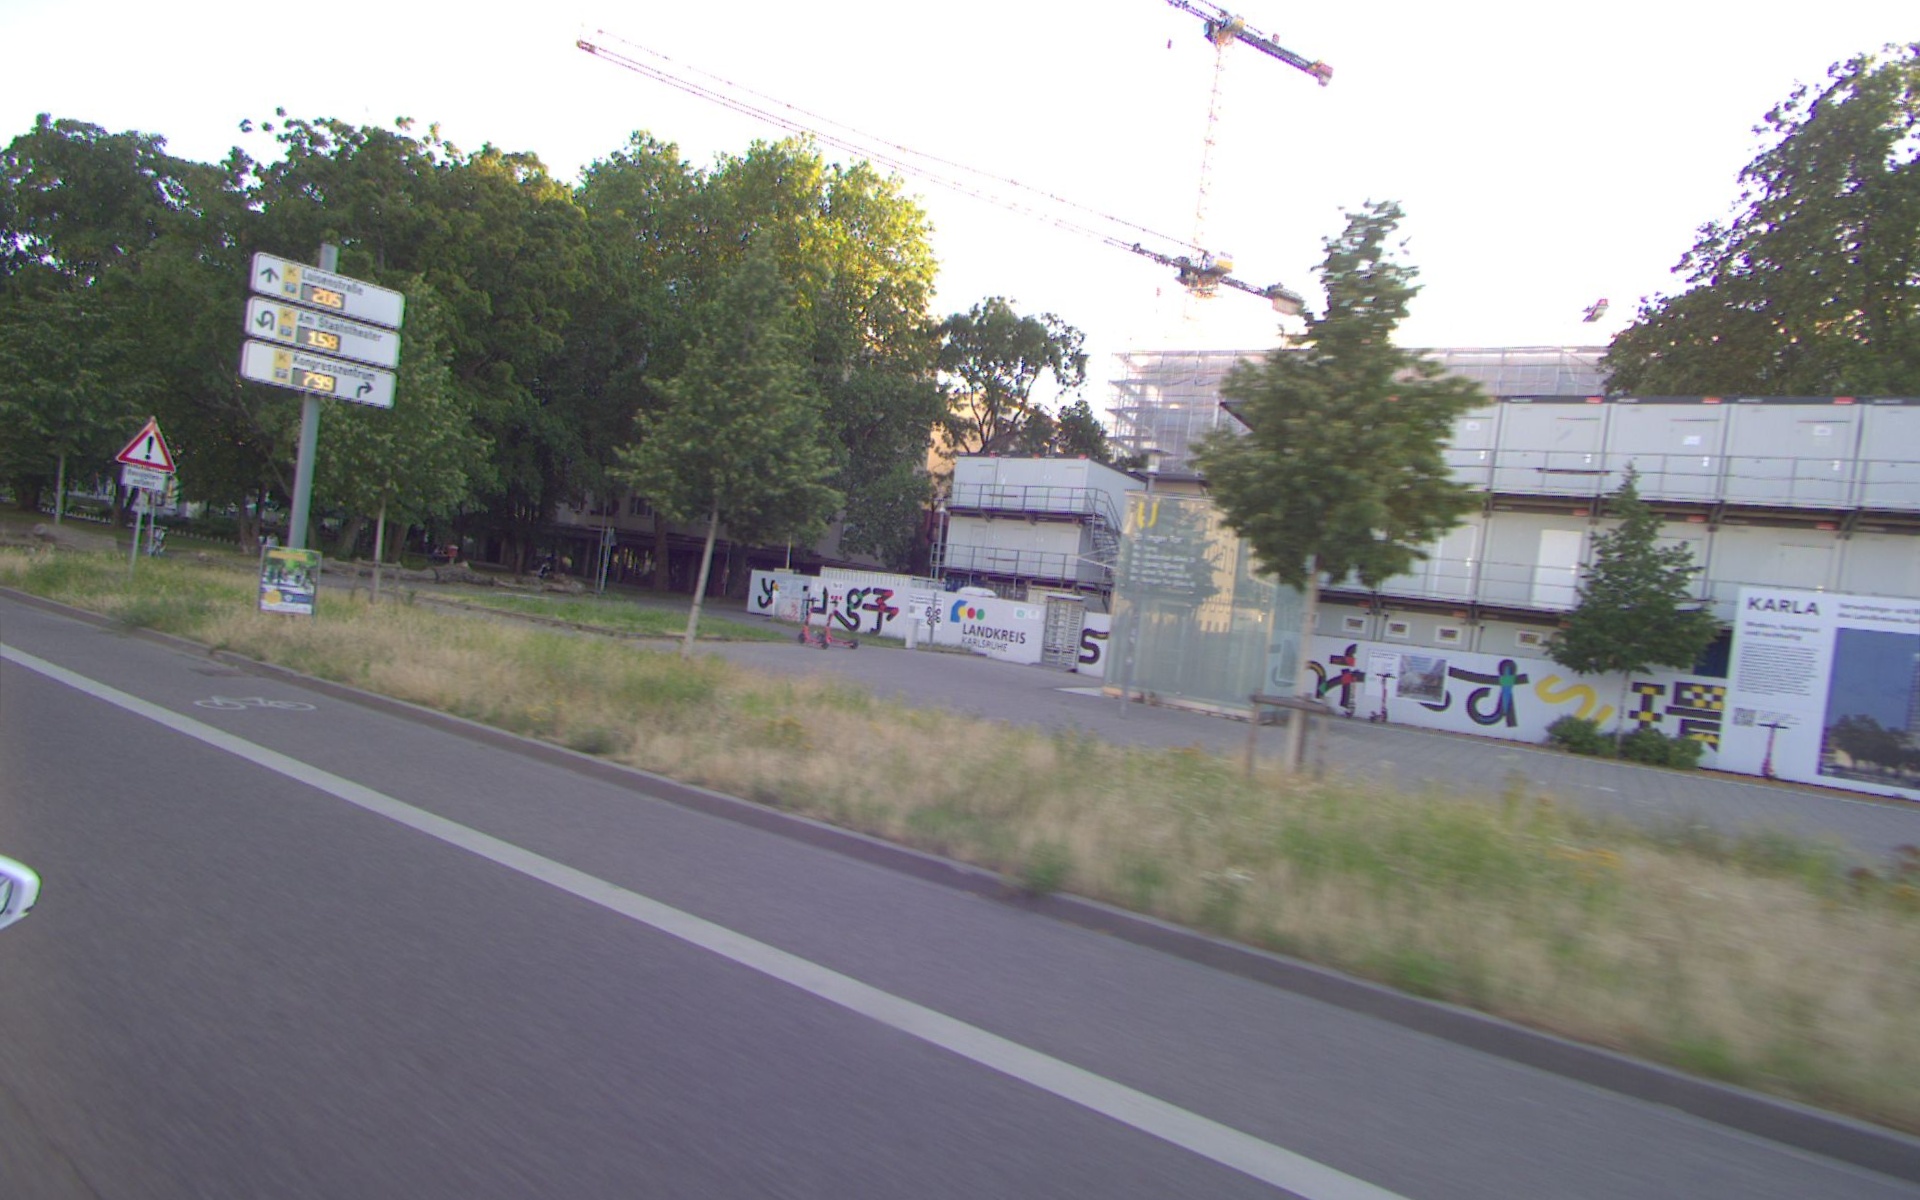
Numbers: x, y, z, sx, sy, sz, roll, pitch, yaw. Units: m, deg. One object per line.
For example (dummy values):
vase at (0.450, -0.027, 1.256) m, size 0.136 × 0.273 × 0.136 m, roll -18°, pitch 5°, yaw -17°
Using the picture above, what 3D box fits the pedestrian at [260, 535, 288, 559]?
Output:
pedestrian at (-29.228, -2.268, 42.859) m, size 0.611 × 0.895 × 0.681 m, roll 7°, pitch 1°, yaw 9°

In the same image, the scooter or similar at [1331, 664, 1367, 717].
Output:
scooter or similar at (9.695, 2.255, 25.067) m, size 0.466 × 1.235 × 1.572 m, roll 7°, pitch -1°, yaw 30°

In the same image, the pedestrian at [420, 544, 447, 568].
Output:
pedestrian at (-31.975, -2.664, 61.090) m, size 0.714 × 1.276 × 1.132 m, roll 7°, pitch 1°, yaw 35°

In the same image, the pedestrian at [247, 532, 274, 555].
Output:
pedestrian at (-29.825, -2.409, 42.903) m, size 0.582 × 0.896 × 0.681 m, roll 6°, pitch 1°, yaw 8°

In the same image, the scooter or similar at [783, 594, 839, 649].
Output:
scooter or similar at (-3.800, 0.540, 25.598) m, size 1.376 × 1.237 × 0.423 m, roll 7°, pitch 4°, yaw 34°

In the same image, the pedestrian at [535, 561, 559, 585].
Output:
pedestrian at (-22.636, -1.464, 55.150) m, size 0.753 × 1.179 × 0.787 m, roll 7°, pitch 1°, yaw 27°

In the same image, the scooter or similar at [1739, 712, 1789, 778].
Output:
scooter or similar at (17.006, 3.038, 21.299) m, size 0.466 × 1.236 × 1.571 m, roll 7°, pitch 0°, yaw 30°

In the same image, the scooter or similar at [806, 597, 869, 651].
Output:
scooter or similar at (-3.245, 0.623, 26.629) m, size 1.547 × 1.237 × 0.473 m, roll 7°, pitch 3°, yaw 26°

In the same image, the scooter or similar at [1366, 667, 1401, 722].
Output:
scooter or similar at (10.402, 2.326, 24.689) m, size 0.466 × 1.235 × 1.572 m, roll 7°, pitch -1°, yaw 30°

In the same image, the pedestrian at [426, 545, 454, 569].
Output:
pedestrian at (-31.251, -2.568, 60.496) m, size 0.891 × 1.276 × 1.132 m, roll 7°, pitch 1°, yaw 35°

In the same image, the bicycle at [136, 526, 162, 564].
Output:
bicycle at (-23.899, -1.636, 29.669) m, size 0.491 × 1.019 × 1.878 m, roll 3°, pitch 3°, yaw -37°

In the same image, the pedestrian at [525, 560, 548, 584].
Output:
pedestrian at (-23.373, -1.556, 55.559) m, size 0.753 × 1.179 × 0.787 m, roll 7°, pitch 1°, yaw 27°
